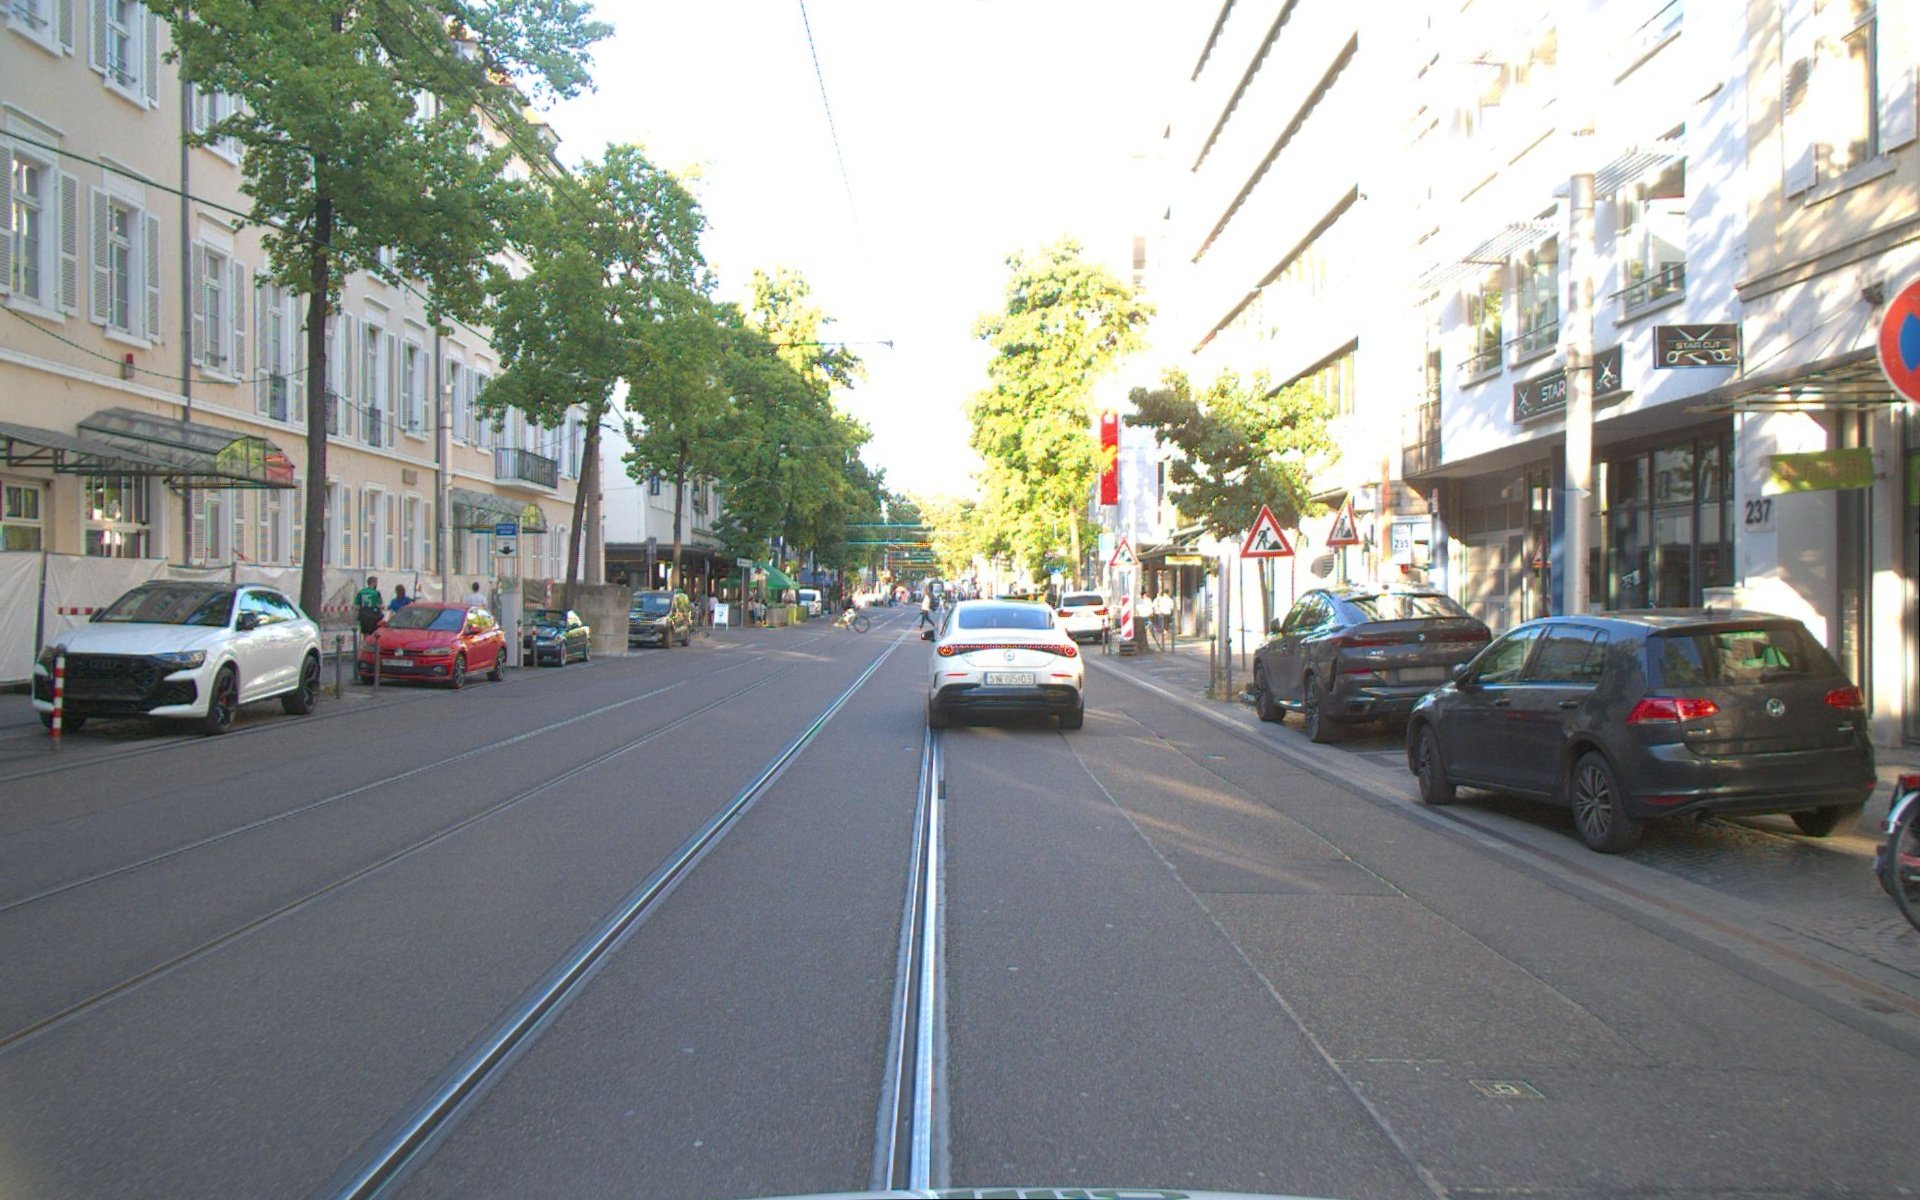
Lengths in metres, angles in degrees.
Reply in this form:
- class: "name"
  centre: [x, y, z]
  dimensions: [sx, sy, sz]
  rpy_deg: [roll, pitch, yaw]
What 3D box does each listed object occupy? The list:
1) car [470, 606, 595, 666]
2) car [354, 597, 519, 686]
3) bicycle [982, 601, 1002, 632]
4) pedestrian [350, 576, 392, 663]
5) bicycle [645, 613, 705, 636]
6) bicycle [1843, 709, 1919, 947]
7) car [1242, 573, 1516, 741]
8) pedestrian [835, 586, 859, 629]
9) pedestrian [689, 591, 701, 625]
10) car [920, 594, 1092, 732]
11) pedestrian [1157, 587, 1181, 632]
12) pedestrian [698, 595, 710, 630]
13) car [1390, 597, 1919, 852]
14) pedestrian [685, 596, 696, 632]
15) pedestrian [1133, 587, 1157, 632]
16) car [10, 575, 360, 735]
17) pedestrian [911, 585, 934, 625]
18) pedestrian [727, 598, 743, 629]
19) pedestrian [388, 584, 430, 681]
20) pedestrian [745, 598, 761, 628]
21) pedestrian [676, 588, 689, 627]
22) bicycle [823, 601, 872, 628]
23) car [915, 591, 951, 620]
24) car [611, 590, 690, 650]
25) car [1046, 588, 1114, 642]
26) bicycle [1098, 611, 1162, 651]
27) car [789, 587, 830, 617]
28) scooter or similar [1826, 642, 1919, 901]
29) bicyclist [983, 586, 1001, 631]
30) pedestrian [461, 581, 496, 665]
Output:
- class: "car"
  centre: [-9.963, 0.808, 38.850]
  dimensions: [1.953, 1.315, 3.999]
  rpy_deg: [0, 0, -1]
- class: "car"
  centre: [-9.559, 0.722, 30.540]
  dimensions: [1.654, 1.525, 4.234]
  rpy_deg: [0, 0, 0]
- class: "bicycle"
  centre: [1.238, 0.636, 64.485]
  dimensions: [0.725, 1.209, 2.160]
  rpy_deg: [0, 0, 0]
- class: "pedestrian"
  centre: [-12.479, 0.407, 35.047]
  dimensions: [0.693, 1.838, 0.675]
  rpy_deg: [0, 0, -6]
- class: "bicycle"
  centre: [-10.728, 0.935, 62.269]
  dimensions: [2.206, 0.845, 0.717]
  rpy_deg: [0, 0, 22]
- class: "bicycle"
  centre: [4.776, 0.989, 7.275]
  dimensions: [1.506, 0.981, 0.496]
  rpy_deg: [0, 0, 3]
- class: "car"
  centre: [4.773, 0.577, 19.613]
  dimensions: [1.953, 1.743, 4.865]
  rpy_deg: [0, 0, -1]
- class: "pedestrian"
  centre: [-4.866, 0.311, 71.027]
  dimensions: [0.904, 1.805, 0.870]
  rpy_deg: [0, 0, -15]
- class: "pedestrian"
  centre: [-12.941, 0.391, 80.862]
  dimensions: [0.506, 1.681, 0.650]
  rpy_deg: [0, 0, -1]
- class: "car"
  centre: [0.458, 0.681, 20.062]
  dimensions: [1.830, 1.494, 4.041]
  rpy_deg: [0, 0, -2]
- class: "pedestrian"
  centre: [8.381, 0.374, 66.465]
  dimensions: [0.785, 1.805, 0.680]
  rpy_deg: [0, 0, -13]
- class: "pedestrian"
  centre: [-12.195, 0.605, 78.800]
  dimensions: [0.506, 1.644, 0.650]
  rpy_deg: [0, 0, -2]
- class: "car"
  centre: [4.696, 0.719, 11.692]
  dimensions: [1.803, 1.461, 3.992]
  rpy_deg: [0, 0, -8]
- class: "pedestrian"
  centre: [-13.719, 0.725, 84.275]
  dimensions: [0.506, 1.813, 0.608]
  rpy_deg: [0, 0, -3]
- class: "pedestrian"
  centre: [7.438, 0.381, 66.556]
  dimensions: [0.785, 1.805, 0.680]
  rpy_deg: [0, 0, -13]
- class: "car"
  centre: [-9.313, 0.599, 20.442]
  dimensions: [1.921, 1.721, 5.013]
  rpy_deg: [0, 0, 0]
- class: "pedestrian"
  centre: [-1.726, 0.227, 75.708]
  dimensions: [0.904, 1.805, 0.870]
  rpy_deg: [0, 0, -15]
- class: "pedestrian"
  centre: [-11.110, 0.671, 81.674]
  dimensions: [0.557, 1.489, 0.650]
  rpy_deg: [0, 0, 18]
- class: "pedestrian"
  centre: [-11.678, 0.679, 35.085]
  dimensions: [0.693, 2.039, 0.675]
  rpy_deg: [0, 0, -4]
- class: "pedestrian"
  centre: [-10.416, 0.655, 83.259]
  dimensions: [0.511, 1.504, 0.644]
  rpy_deg: [-2, -1, -28]
- class: "pedestrian"
  centre: [-13.393, 0.345, 79.877]
  dimensions: [0.506, 1.888, 0.650]
  rpy_deg: [0, 0, -1]
- class: "bicycle"
  centre: [-4.836, 0.622, 71.038]
  dimensions: [2.014, 1.155, 0.870]
  rpy_deg: [0, 0, -16]
- class: "car"
  centre: [-2.991, 0.620, 185.737]
  dimensions: [3.957, 3.169, 8.429]
  rpy_deg: [0, 0, -1]
- class: "car"
  centre: [-9.688, 0.609, 52.024]
  dimensions: [1.519, 1.827, 3.170]
  rpy_deg: [0, 0, 8]
- class: "car"
  centre: [4.041, 0.478, 56.326]
  dimensions: [1.953, 1.758, 4.240]
  rpy_deg: [0, 0, 0]
- class: "bicycle"
  centre: [4.638, 0.852, 45.181]
  dimensions: [1.686, 1.080, 0.581]
  rpy_deg: [0, 0, 2]
- class: "car"
  centre: [-10.400, 0.109, 114.600]
  dimensions: [1.951, 2.049, 4.003]
  rpy_deg: [0, 0, 7]
- class: "scooter or similar"
  centre: [5.222, 0.825, 8.196]
  dimensions: [1.506, 1.217, 0.675]
  rpy_deg: [0, 0, 3]
- class: "bicyclist"
  centre: [1.244, 0.333, 64.293]
  dimensions: [0.710, 1.732, 0.811]
  rpy_deg: [0, 0, 0]
- class: "pedestrian"
  centre: [-11.866, 0.557, 40.754]
  dimensions: [0.693, 2.039, 0.675]
  rpy_deg: [0, 0, -4]
